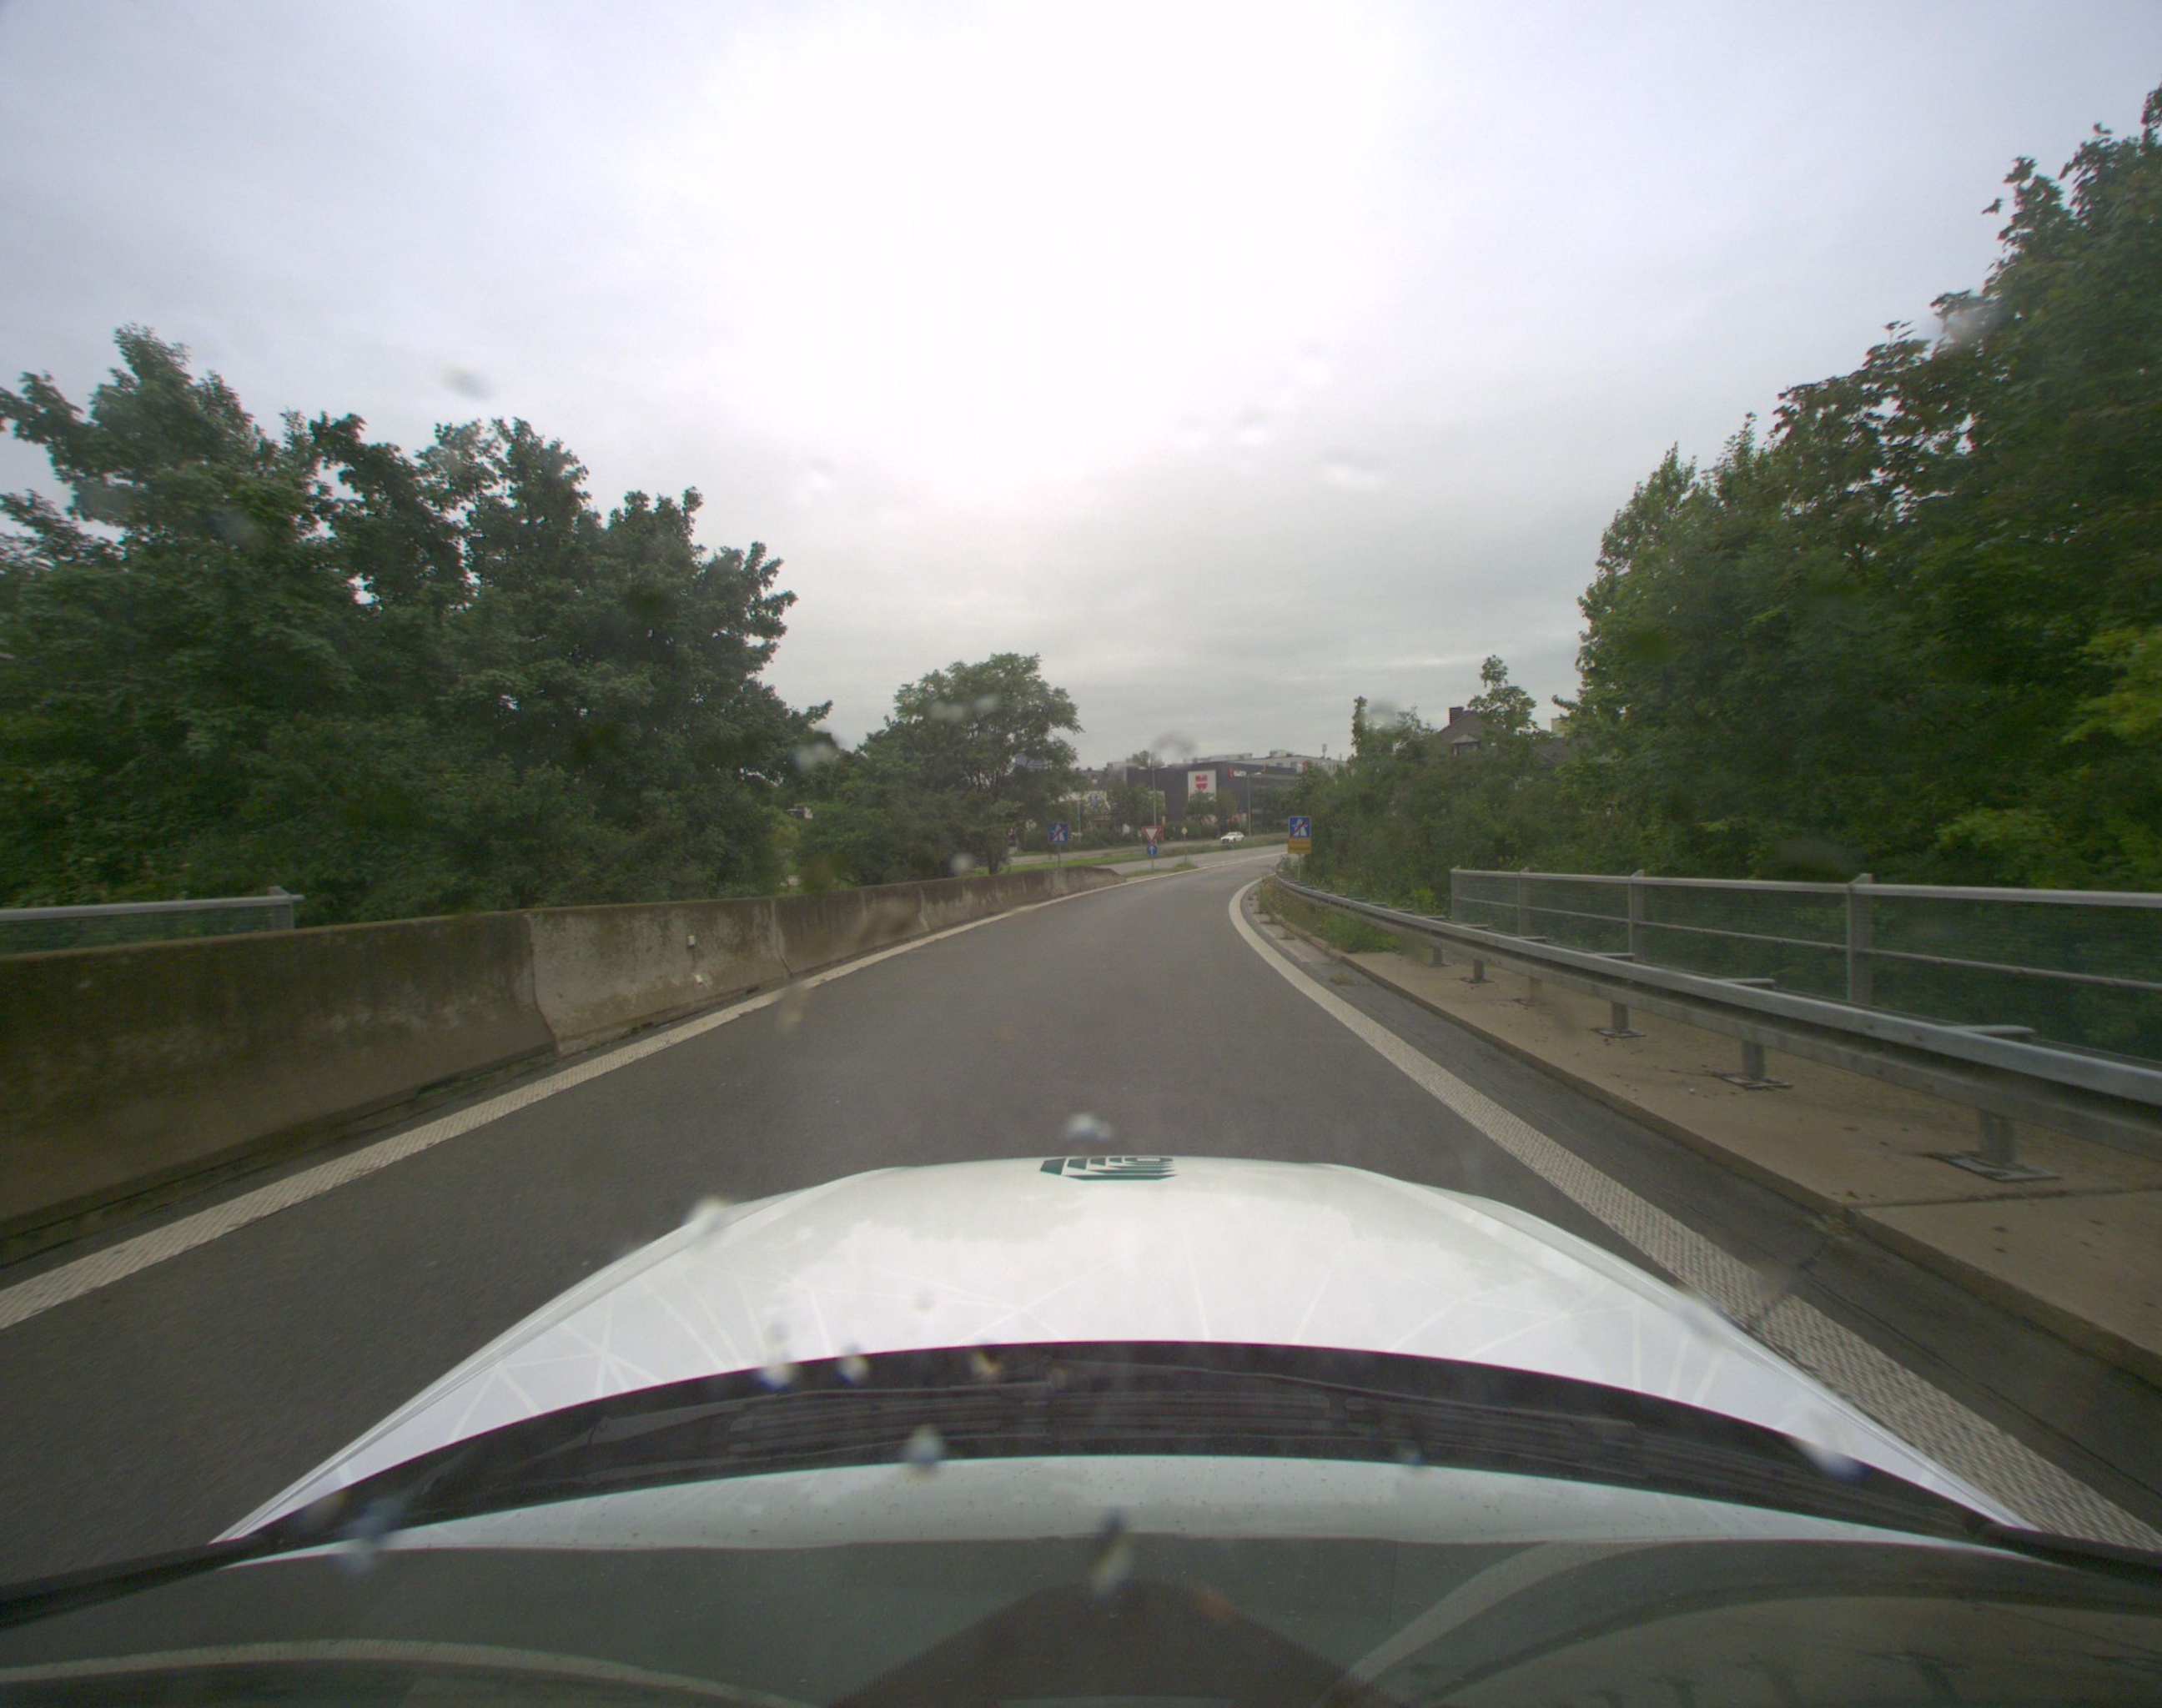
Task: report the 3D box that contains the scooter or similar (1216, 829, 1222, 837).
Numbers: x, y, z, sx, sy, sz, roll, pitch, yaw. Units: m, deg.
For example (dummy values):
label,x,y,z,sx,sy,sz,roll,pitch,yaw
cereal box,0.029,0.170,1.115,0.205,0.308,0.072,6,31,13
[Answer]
label,x,y,z,sx,sy,sz,roll,pitch,yaw
scooter or similar,21.279,-3.259,125.413,0.441,1.227,1.396,0,3,32

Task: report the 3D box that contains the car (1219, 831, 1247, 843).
label,x,y,z,sx,sy,sz,roll,pitch,yaw
car,21.447,-2.381,114.693,1.974,1.572,5.153,-1,2,34

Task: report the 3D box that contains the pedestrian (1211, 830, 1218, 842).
label,x,y,z,sx,sy,sz,roll,pitch,yaw
pedestrian,20.115,-2.724,122.630,0.616,1.829,0.823,0,3,34

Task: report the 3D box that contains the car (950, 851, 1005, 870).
label,x,y,z,sx,sy,sz,roll,pitch,yaw
car,-8.922,0.568,70.515,1.950,1.396,4.848,-2,1,35
